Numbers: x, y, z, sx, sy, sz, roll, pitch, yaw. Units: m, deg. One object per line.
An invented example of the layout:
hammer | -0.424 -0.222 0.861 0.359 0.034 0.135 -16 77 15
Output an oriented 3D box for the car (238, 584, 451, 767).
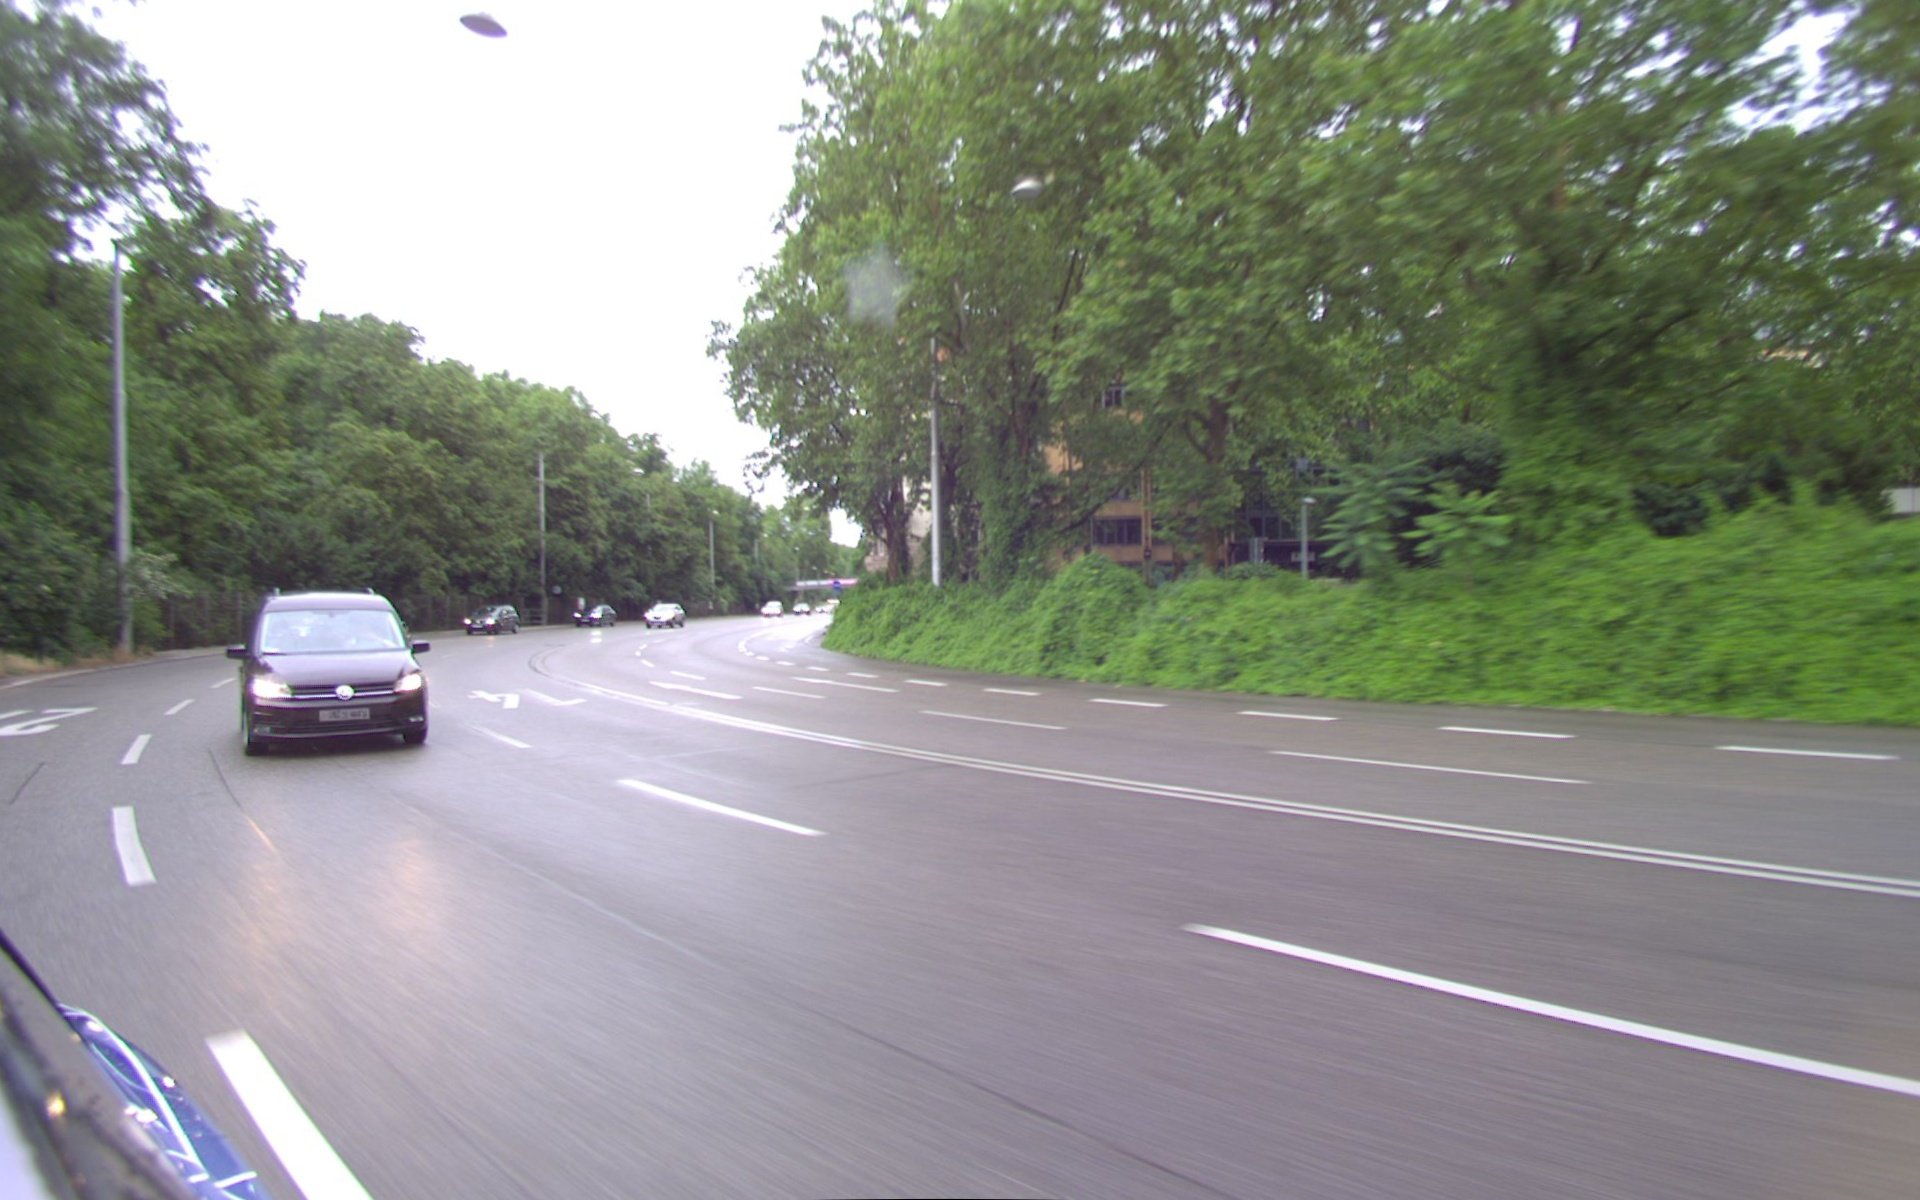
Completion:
car | -7.561 0.769 12.239 1.767 1.813 4.134 1 -1 -37

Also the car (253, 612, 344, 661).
car | -22.019 1.174 33.842 1.765 1.464 4.013 -1 0 -22

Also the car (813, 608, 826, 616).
car | -28.759 2.423 206.995 1.901 1.532 3.898 -1 0 2

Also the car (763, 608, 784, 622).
car | -21.686 1.773 118.003 1.898 1.532 3.904 -1 0 -3

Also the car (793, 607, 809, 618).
car | -22.258 1.775 141.771 1.898 1.532 3.904 -1 0 -4

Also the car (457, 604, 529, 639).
car | -24.801 1.119 53.904 1.972 1.758 4.000 -1 0 0

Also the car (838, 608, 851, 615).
car | -23.442 2.322 205.449 1.901 1.532 3.897 -1 0 3

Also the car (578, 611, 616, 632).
car | -25.332 1.499 70.679 1.561 1.343 3.106 -1 0 1

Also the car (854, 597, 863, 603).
car | -26.066 -0.065 260.303 1.901 1.532 3.897 -1 0 3

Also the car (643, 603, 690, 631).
car | -19.819 1.131 68.507 1.971 1.758 4.657 -1 0 -2
